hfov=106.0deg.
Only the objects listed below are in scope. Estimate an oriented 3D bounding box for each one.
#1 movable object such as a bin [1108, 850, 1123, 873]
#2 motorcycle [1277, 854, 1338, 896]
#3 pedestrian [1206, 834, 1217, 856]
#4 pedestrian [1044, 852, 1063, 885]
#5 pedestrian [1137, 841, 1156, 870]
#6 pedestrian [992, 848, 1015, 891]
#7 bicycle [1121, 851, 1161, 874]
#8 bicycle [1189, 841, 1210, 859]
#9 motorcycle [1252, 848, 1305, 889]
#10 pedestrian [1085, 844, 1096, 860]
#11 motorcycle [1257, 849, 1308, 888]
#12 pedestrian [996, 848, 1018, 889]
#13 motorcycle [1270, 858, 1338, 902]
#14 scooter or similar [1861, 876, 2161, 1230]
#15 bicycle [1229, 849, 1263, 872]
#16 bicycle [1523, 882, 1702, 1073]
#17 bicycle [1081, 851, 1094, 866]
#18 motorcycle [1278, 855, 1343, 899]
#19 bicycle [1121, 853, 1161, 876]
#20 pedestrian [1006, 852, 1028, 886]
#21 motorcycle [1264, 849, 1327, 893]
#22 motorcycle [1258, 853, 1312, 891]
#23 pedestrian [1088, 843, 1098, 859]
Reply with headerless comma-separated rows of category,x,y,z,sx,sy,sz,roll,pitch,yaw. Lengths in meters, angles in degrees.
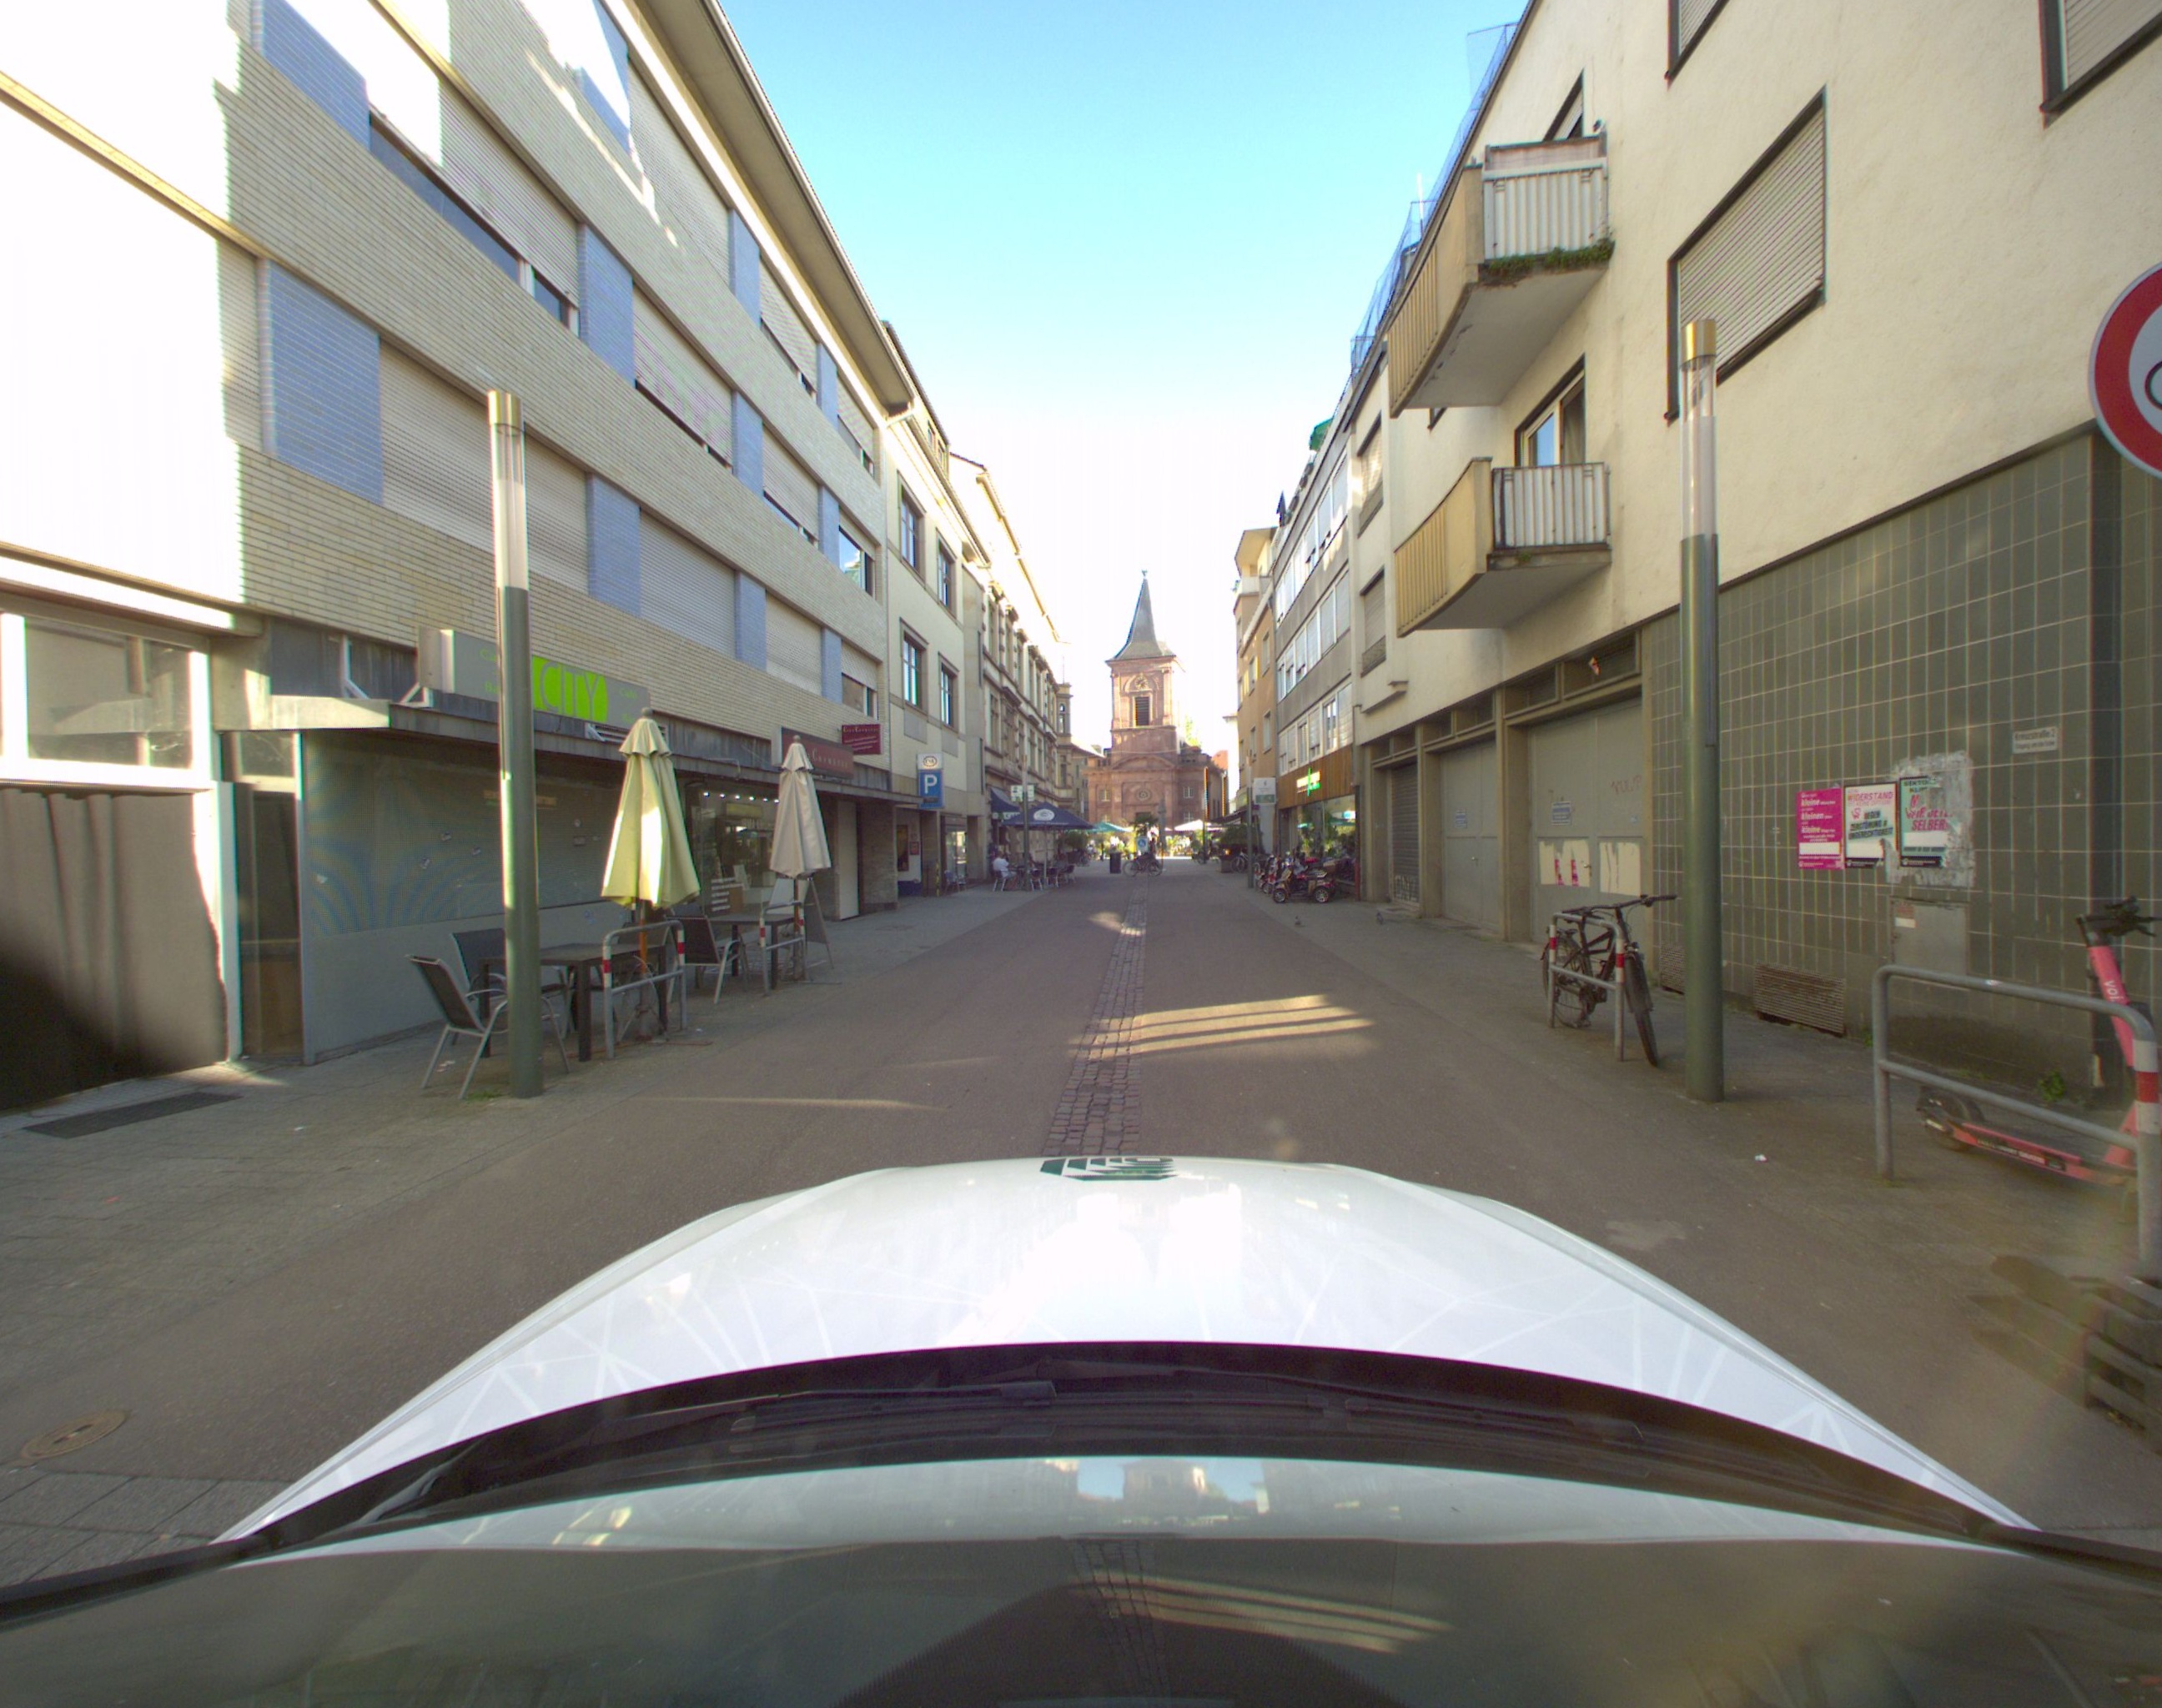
movable object such as a bin,1.705,0.372,40.505,0.718,1.074,0.374,-1,1,3
motorcycle,6.013,0.569,21.634,1.470,1.075,0.414,-2,0,22
pedestrian,9.264,-0.621,57.730,0.779,1.555,0.536,-1,1,9
pedestrian,-1.029,0.533,30.659,0.690,1.215,0.582,-1,1,-4
pedestrian,3.352,0.085,41.641,0.879,1.464,0.732,-1,1,5
pedestrian,-2.594,0.507,27.147,0.707,1.368,0.718,-1,1,-8
bicycle,2.746,0.397,37.538,1.817,1.004,0.381,-1,1,1
bicycle,9.110,-0.318,62.590,1.594,1.308,0.363,-2,1,-25
motorcycle,5.930,0.449,24.486,1.471,1.181,0.414,-2,0,19
pedestrian,0.745,-0.165,63.881,0.696,1.218,0.721,-1,1,10
motorcycle,6.310,0.443,25.541,1.471,1.181,0.414,-2,0,19
pedestrian,-2.566,0.488,28.181,0.717,1.368,0.708,-1,1,-8
motorcycle,5.448,0.644,19.897,1.550,1.041,0.374,-2,0,22
scooter or similar,4.108,0.744,3.510,0.306,1.252,1.239,-1,0,1
bicycle,7.358,0.277,36.300,1.454,1.004,0.575,-1,1,11
bicycle,3.812,0.805,5.986,0.444,1.140,1.714,-1,0,10
bicycle,0.416,0.272,49.661,0.454,0.850,2.151,-1,1,8
motorcycle,5.820,0.580,20.682,1.503,1.075,0.414,-2,0,22
bicycle,2.732,0.469,37.141,1.817,1.004,0.381,-1,1,1
pedestrian,-2.342,0.539,29.844,0.763,1.233,0.830,-1,1,-3
motorcycle,6.007,0.472,22.841,1.610,1.175,0.483,-2,0,22
motorcycle,5.924,0.531,23.661,1.470,1.075,0.414,-2,0,22
pedestrian,0.969,-0.251,65.302,0.696,1.218,0.721,-1,1,10
